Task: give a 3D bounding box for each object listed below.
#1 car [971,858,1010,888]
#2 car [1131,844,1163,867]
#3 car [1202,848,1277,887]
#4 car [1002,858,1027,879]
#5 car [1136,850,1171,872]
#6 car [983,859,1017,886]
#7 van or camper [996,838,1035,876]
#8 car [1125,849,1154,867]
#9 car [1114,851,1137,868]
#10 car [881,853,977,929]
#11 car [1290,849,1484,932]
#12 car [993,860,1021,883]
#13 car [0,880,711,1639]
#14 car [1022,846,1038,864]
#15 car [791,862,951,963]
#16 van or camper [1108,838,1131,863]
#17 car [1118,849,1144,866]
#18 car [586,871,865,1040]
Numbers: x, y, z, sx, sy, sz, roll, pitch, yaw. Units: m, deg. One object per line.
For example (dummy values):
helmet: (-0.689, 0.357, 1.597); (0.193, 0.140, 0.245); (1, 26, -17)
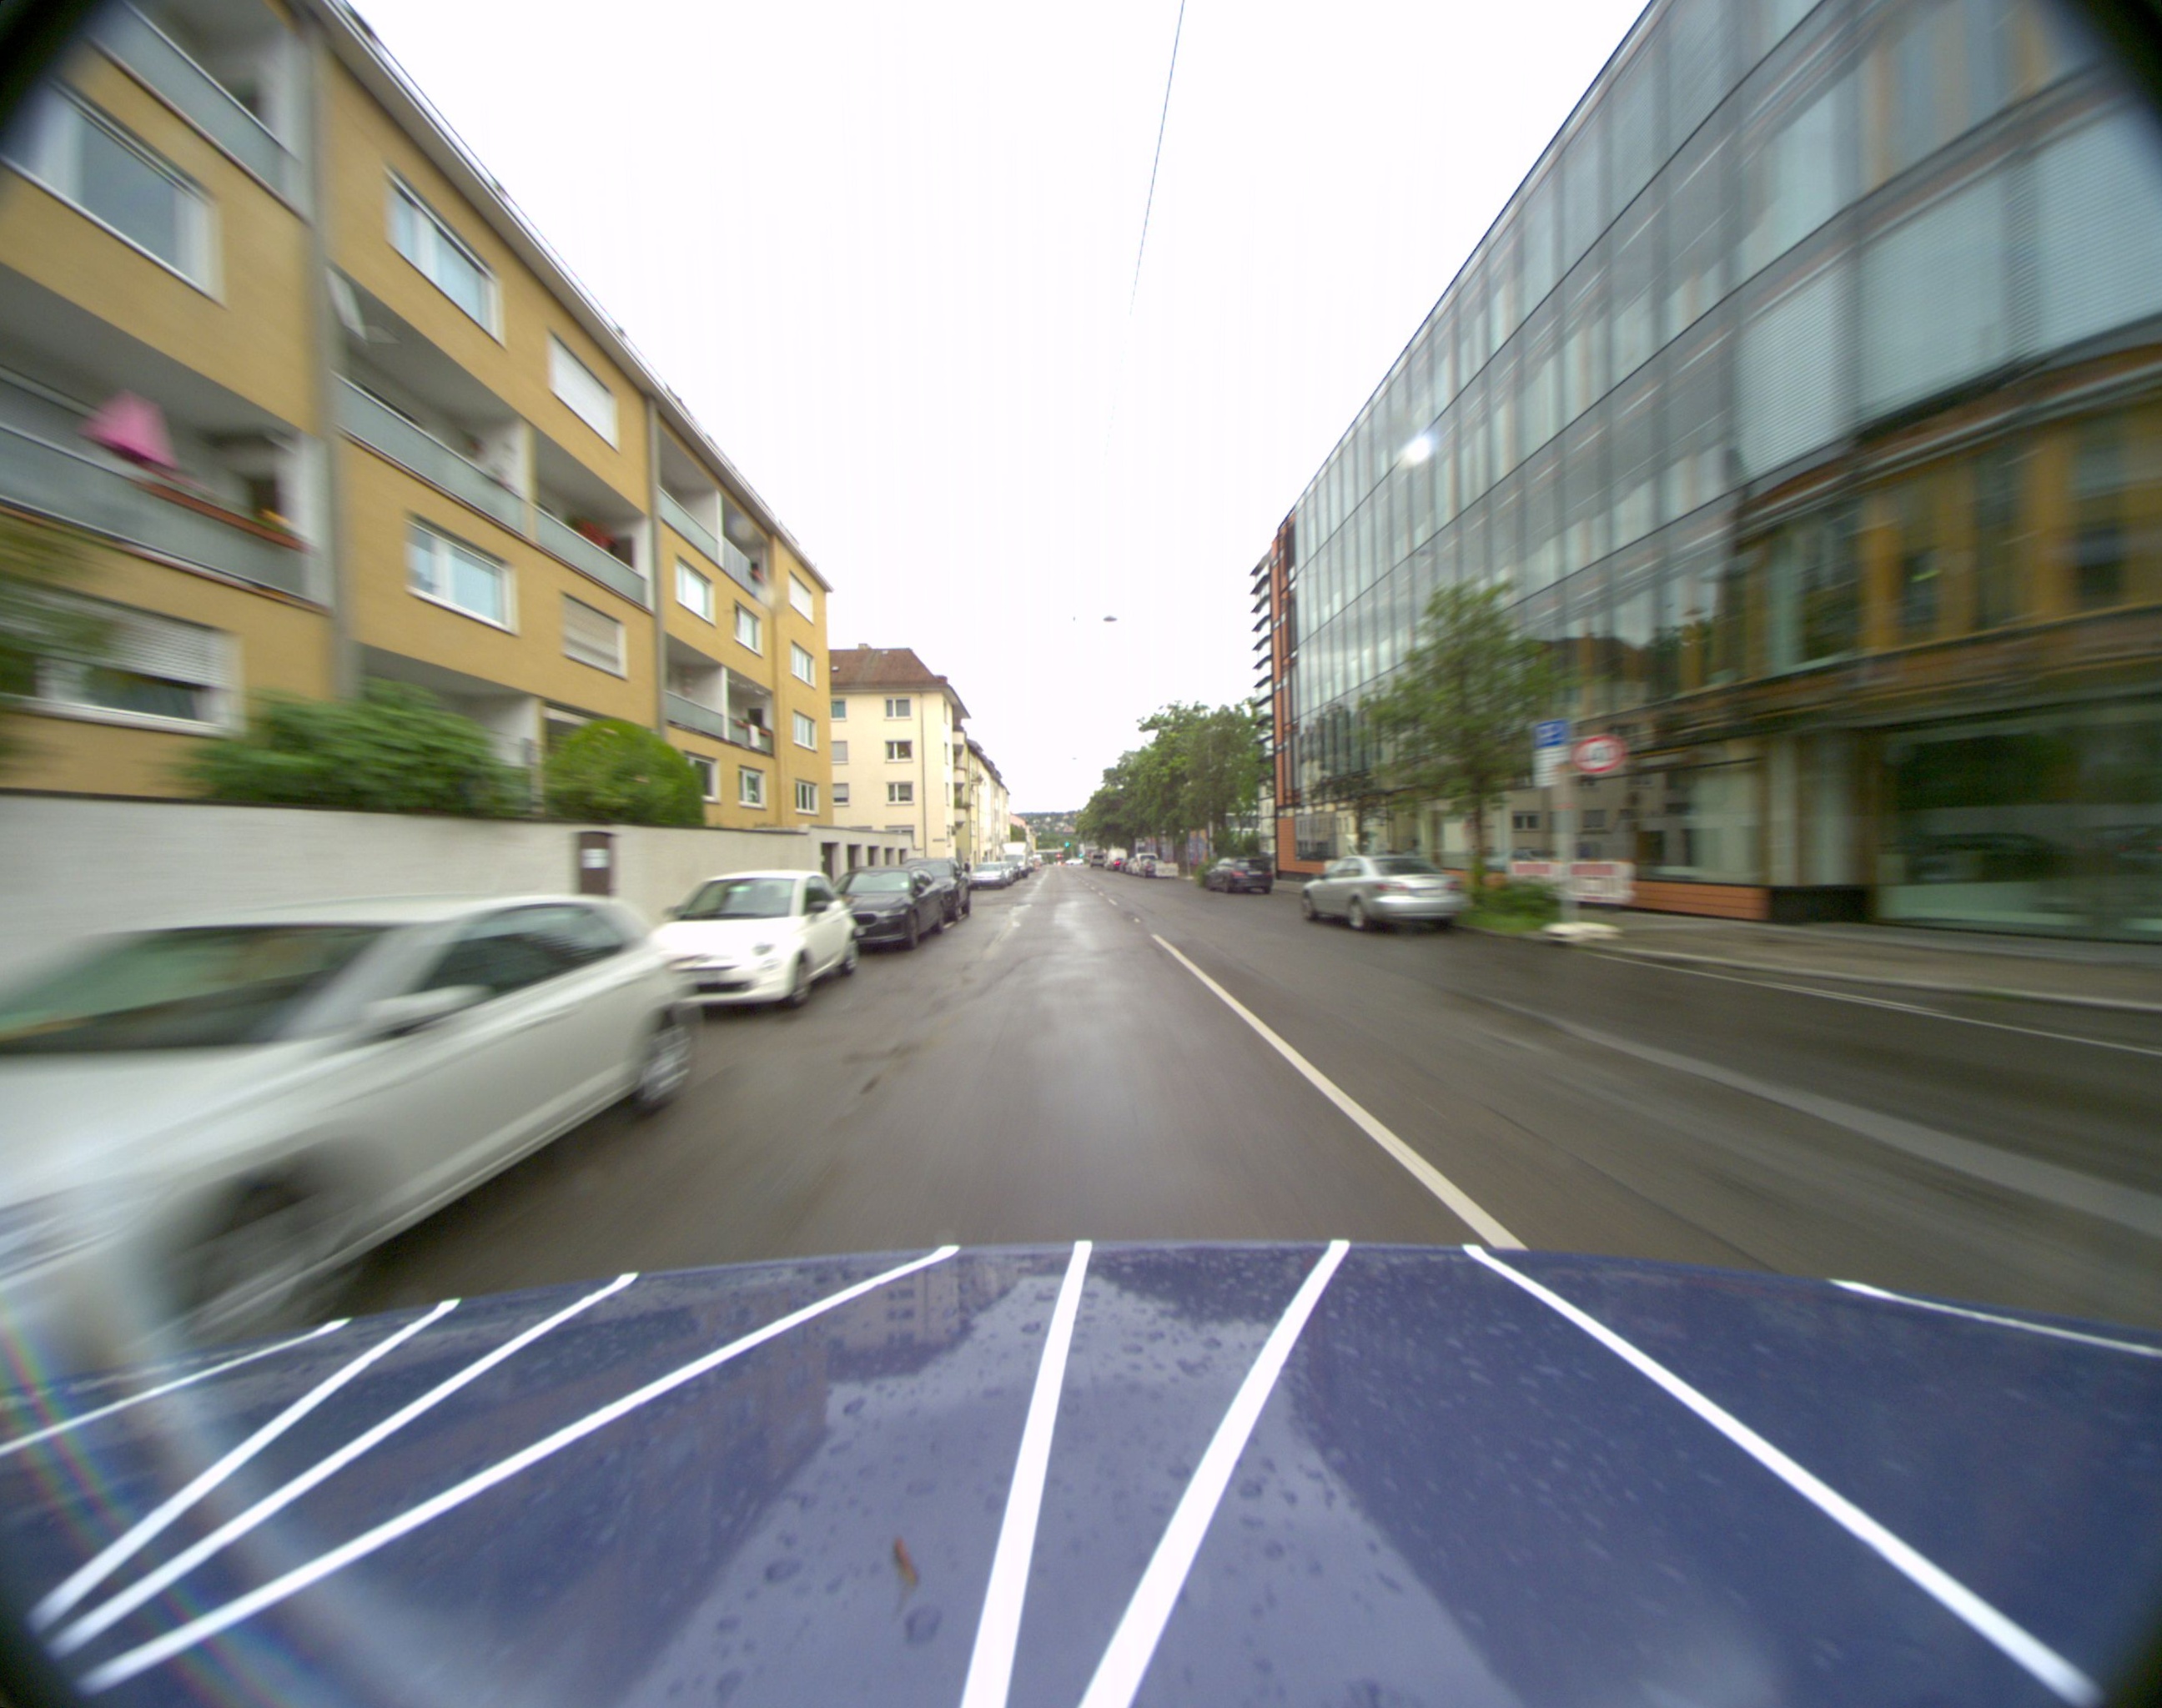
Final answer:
car: (-4.809, 0.983, 40.891); (1.741, 1.370, 3.836); (-2, 2, -2)
car: (5.167, 0.068, 60.231); (1.881, 1.700, 3.997); (-1, 2, -4)
car: (6.304, 0.513, 30.708); (1.728, 1.455, 4.328); (0, 0, -6)
car: (-5.086, 1.074, 58.504); (1.741, 1.423, 3.503); (-2, 1, -2)
car: (5.214, 0.483, 55.032); (1.881, 1.390, 3.997); (-1, 2, -4)
car: (-4.895, 1.083, 46.397); (1.741, 1.370, 3.969); (-2, 2, -2)
van or camper: (-5.640, 0.168, 66.553); (2.754, 3.041, 7.027); (-2, 2, -1)
car: (4.976, 0.331, 64.948); (1.881, 1.345, 3.827); (-1, 2, -4)
car: (4.678, 0.560, 80.573); (1.999, 1.566, 3.998); (-2, 2, -3)
car: (-3.973, 0.890, 20.635); (1.806, 1.637, 4.573); (-2, 2, -2)
car: (5.872, 0.605, 15.309); (1.863, 1.386, 4.643); (-1, 0, -3)
car: (-5.199, 1.209, 54.054); (1.741, 1.423, 3.503); (-2, 1, -2)
car: (-3.349, 1.000, 3.273); (1.652, 1.452, 4.099); (-2, 2, -4)
car: (-6.254, 0.097, 93.017); (1.741, 1.997, 4.195); (-2, 1, -2)
car: (-3.778, 0.970, 14.553); (1.916, 1.418, 4.449); (-2, 2, -2)
van or camper: (4.326, -0.437, 86.649); (2.144, 2.588, 5.548); (-2, 2, -1)
car: (4.691, 0.346, 71.412); (1.881, 1.456, 3.516); (-1, 2, -4)
car: (-3.893, 1.008, 9.039); (1.690, 1.445, 3.553); (-2, 0, -2)
